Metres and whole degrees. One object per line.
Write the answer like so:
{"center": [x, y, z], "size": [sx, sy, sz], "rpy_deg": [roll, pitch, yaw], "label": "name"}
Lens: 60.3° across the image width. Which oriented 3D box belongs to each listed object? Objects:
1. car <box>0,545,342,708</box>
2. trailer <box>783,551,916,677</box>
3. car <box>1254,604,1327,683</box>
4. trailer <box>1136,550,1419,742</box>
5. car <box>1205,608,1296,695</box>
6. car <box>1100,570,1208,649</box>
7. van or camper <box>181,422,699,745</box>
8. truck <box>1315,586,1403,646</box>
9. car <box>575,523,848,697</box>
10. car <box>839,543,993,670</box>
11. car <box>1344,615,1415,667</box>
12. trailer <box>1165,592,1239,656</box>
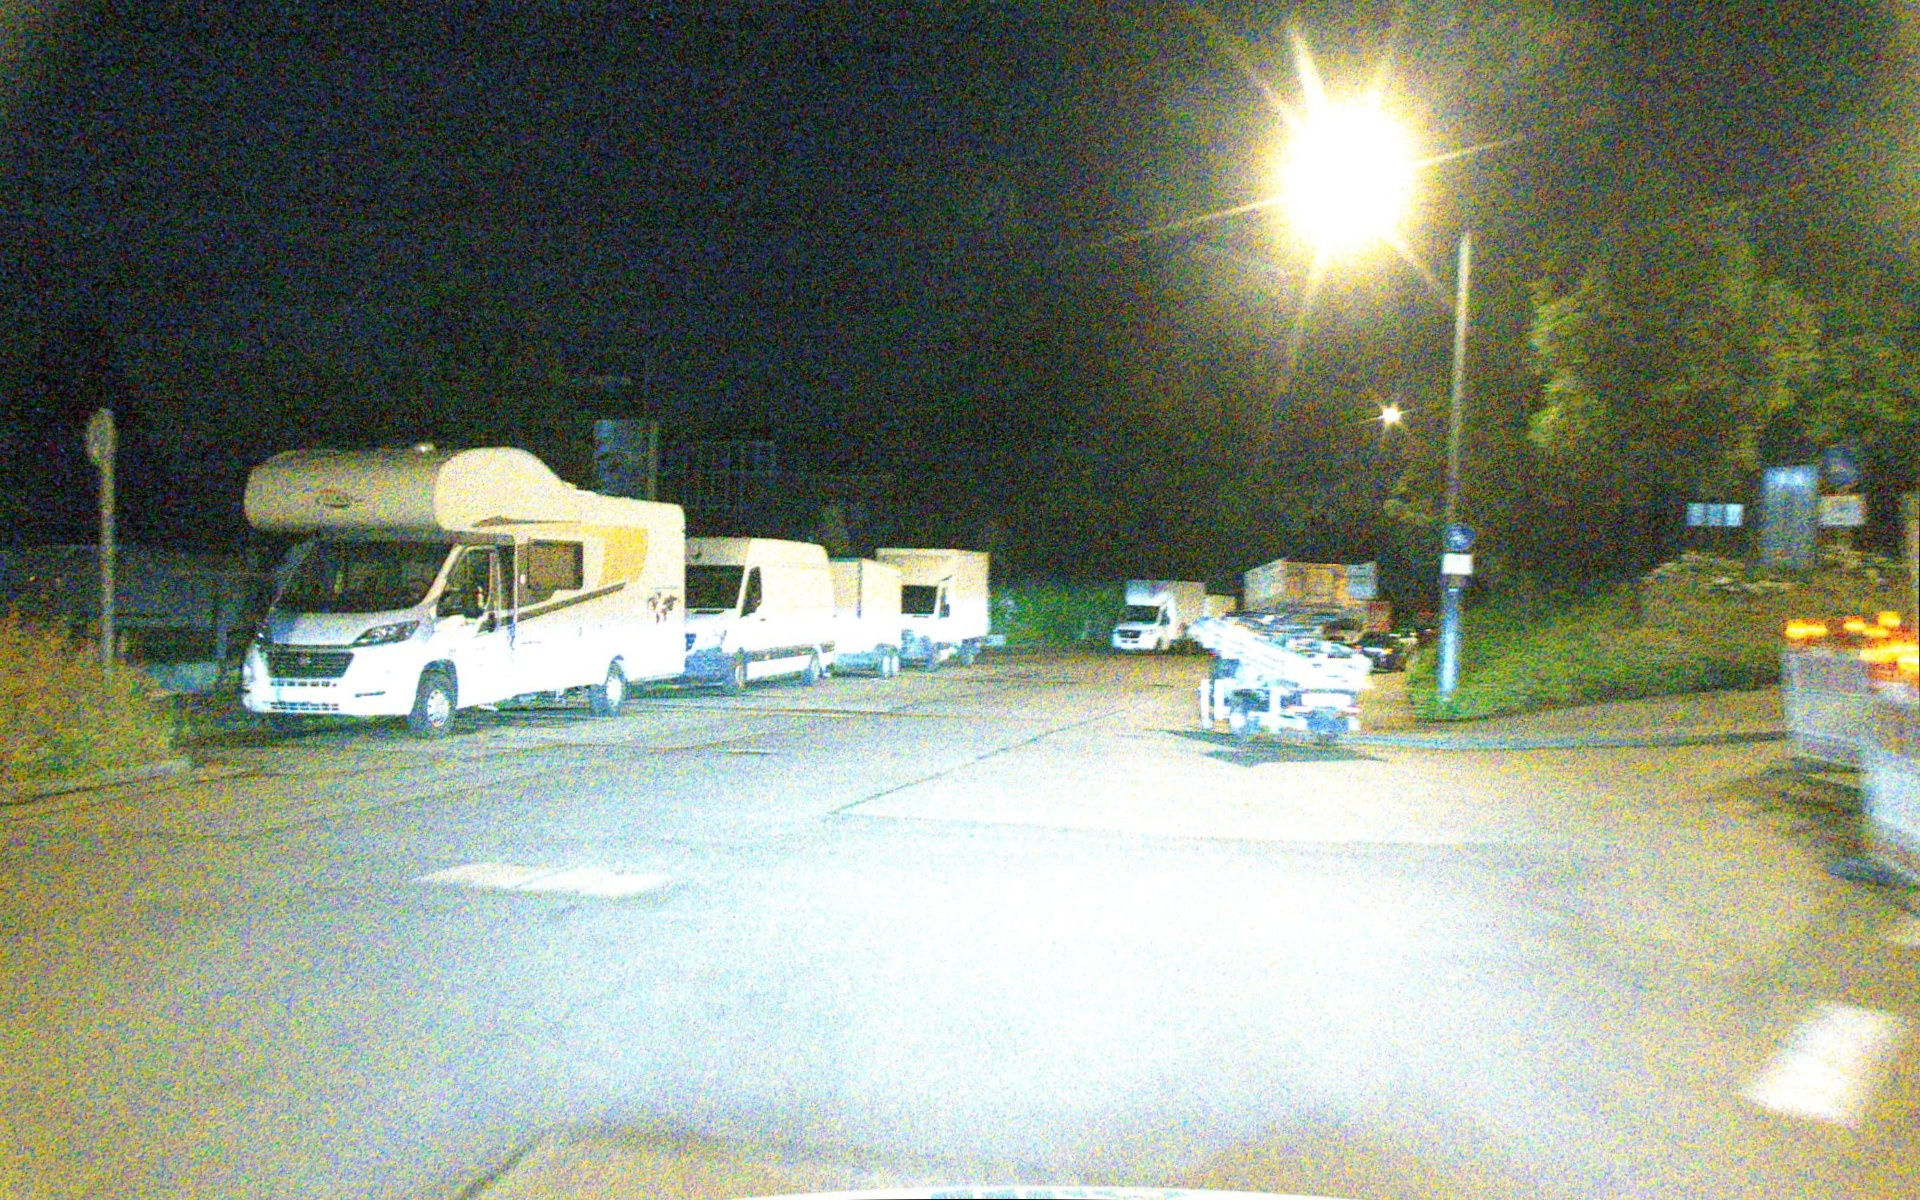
{"center": [-15.958, 0.501, 33.088], "size": [1.961, 2.891, 6.653], "rpy_deg": [4, 1, 36], "label": "car"}
{"center": [-2.335, 0.289, 35.934], "size": [1.951, 2.572, 3.571], "rpy_deg": [1, 0, 12], "label": "trailer"}
{"center": [8.707, 1.130, 43.372], "size": [1.684, 1.852, 4.003], "rpy_deg": [3, -1, 13], "label": "car"}
{"center": [3.943, 0.557, 21.578], "size": [1.533, 2.198, 5.201], "rpy_deg": [1, -1, -15], "label": "trailer"}
{"center": [6.437, 1.104, 36.349], "size": [1.684, 1.690, 4.003], "rpy_deg": [3, -1, 13], "label": "car"}
{"center": [8.523, 0.437, 71.856], "size": [2.469, 3.227, 7.131], "rpy_deg": [1, -1, 26], "label": "car"}
{"center": [-5.778, -0.141, 20.037], "size": [2.465, 3.148, 7.451], "rpy_deg": [1, 0, 13], "label": "van or camper"}
{"center": [24.885, 1.009, 102.760], "size": [1.961, 3.463, 8.944], "rpy_deg": [4, 1, 36], "label": "truck"}
{"center": [-4.077, 0.174, 28.962], "size": [2.465, 2.651, 7.097], "rpy_deg": [1, 0, 11], "label": "car"}
{"center": [-0.983, 0.186, 42.781], "size": [2.465, 2.979, 7.207], "rpy_deg": [1, 0, 11], "label": "car"}
{"center": [16.058, 1.590, 63.188], "size": [1.688, 1.852, 3.994], "rpy_deg": [3, -1, 27], "label": "car"}
{"center": [11.364, 1.103, 77.488], "size": [1.955, 2.862, 4.697], "rpy_deg": [2, 0, 27], "label": "trailer"}
